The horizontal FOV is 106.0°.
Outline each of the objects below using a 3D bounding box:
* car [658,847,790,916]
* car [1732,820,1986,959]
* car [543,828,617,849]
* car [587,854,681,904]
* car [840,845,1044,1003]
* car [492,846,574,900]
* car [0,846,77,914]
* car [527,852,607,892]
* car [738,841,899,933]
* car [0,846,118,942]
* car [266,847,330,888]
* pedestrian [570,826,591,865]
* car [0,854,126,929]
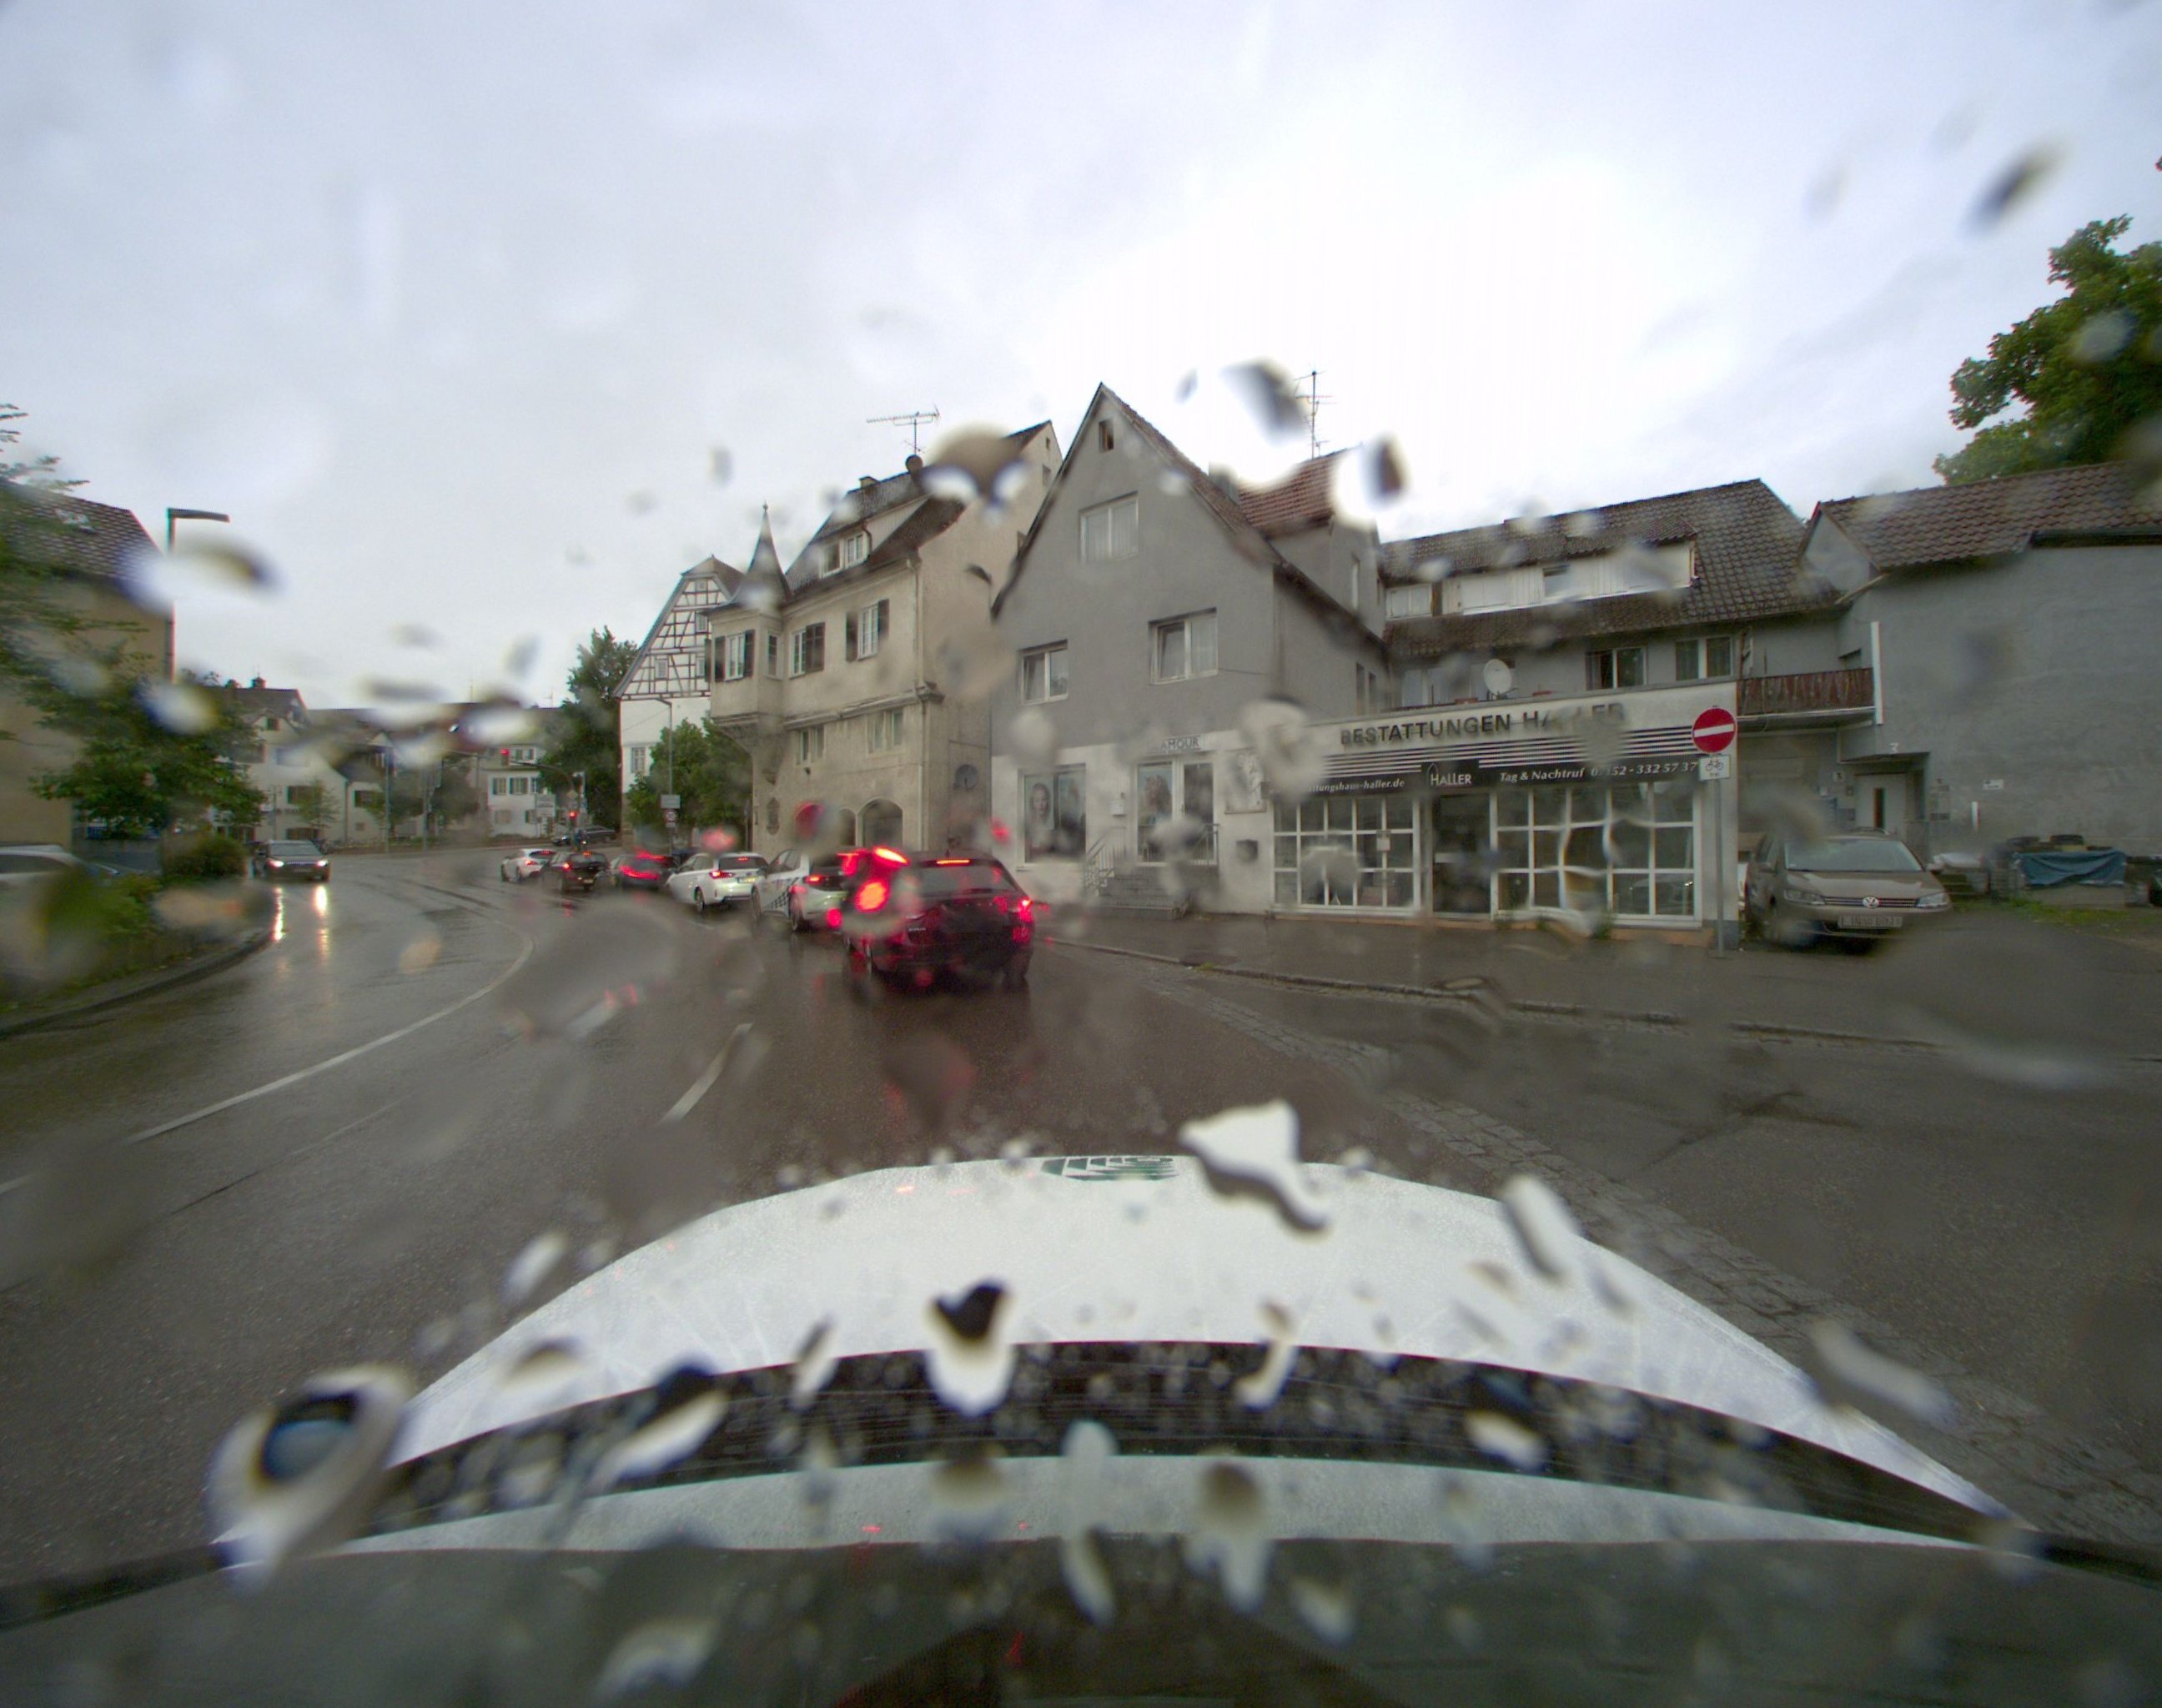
[{"bbox_3d":[-9.113,0.610,20.600,1.801,1.465,4.114,-3,3,-42],"label":"car"},{"bbox_3d":[11.726,0.374,12.677,1.905,1.727,4.698,-1,2,32],"label":"car"},{"bbox_3d":[-37.543,-1.140,61.122,1.632,1.389,4.555,7,3,23],"label":"car"},{"bbox_3d":[-14.132,0.722,25.664,3.721,1.361,1.533,1,3,44],"label":"car"},{"bbox_3d":[-1.940,0.651,10.158,1.738,1.450,4.212,-2,2,-21],"label":"car"},{"bbox_3d":[-23.517,0.741,34.917,3.911,2.090,1.992,1,2,42],"label":"car"},{"bbox_3d":[-26.197,0.621,18.718,1.692,1.576,3.558,0,1,24],"label":"car"},{"bbox_3d":[-19.009,0.618,30.083,3.579,1.312,1.678,1,3,44],"label":"car"},{"bbox_3d":[-5.315,0.565,16.131,1.803,1.517,4.194,-2,1,-36],"label":"car"},{"bbox_3d":[-20.126,0.726,14.448,1.692,1.685,3.558,0,1,24],"label":"car"},{"bbox_3d":[-31.648,0.554,32.885,4.220,1.510,1.748,-2,1,45],"label":"car"},{"bbox_3d":[-30.481,-0.489,49.585,0.872,2.326,1.216,-1,0,-40],"label":"pedestrian"},{"bbox_3d":[-22.391,0.778,16.514,1.692,1.455,3.558,0,1,24],"label":"car"}]
